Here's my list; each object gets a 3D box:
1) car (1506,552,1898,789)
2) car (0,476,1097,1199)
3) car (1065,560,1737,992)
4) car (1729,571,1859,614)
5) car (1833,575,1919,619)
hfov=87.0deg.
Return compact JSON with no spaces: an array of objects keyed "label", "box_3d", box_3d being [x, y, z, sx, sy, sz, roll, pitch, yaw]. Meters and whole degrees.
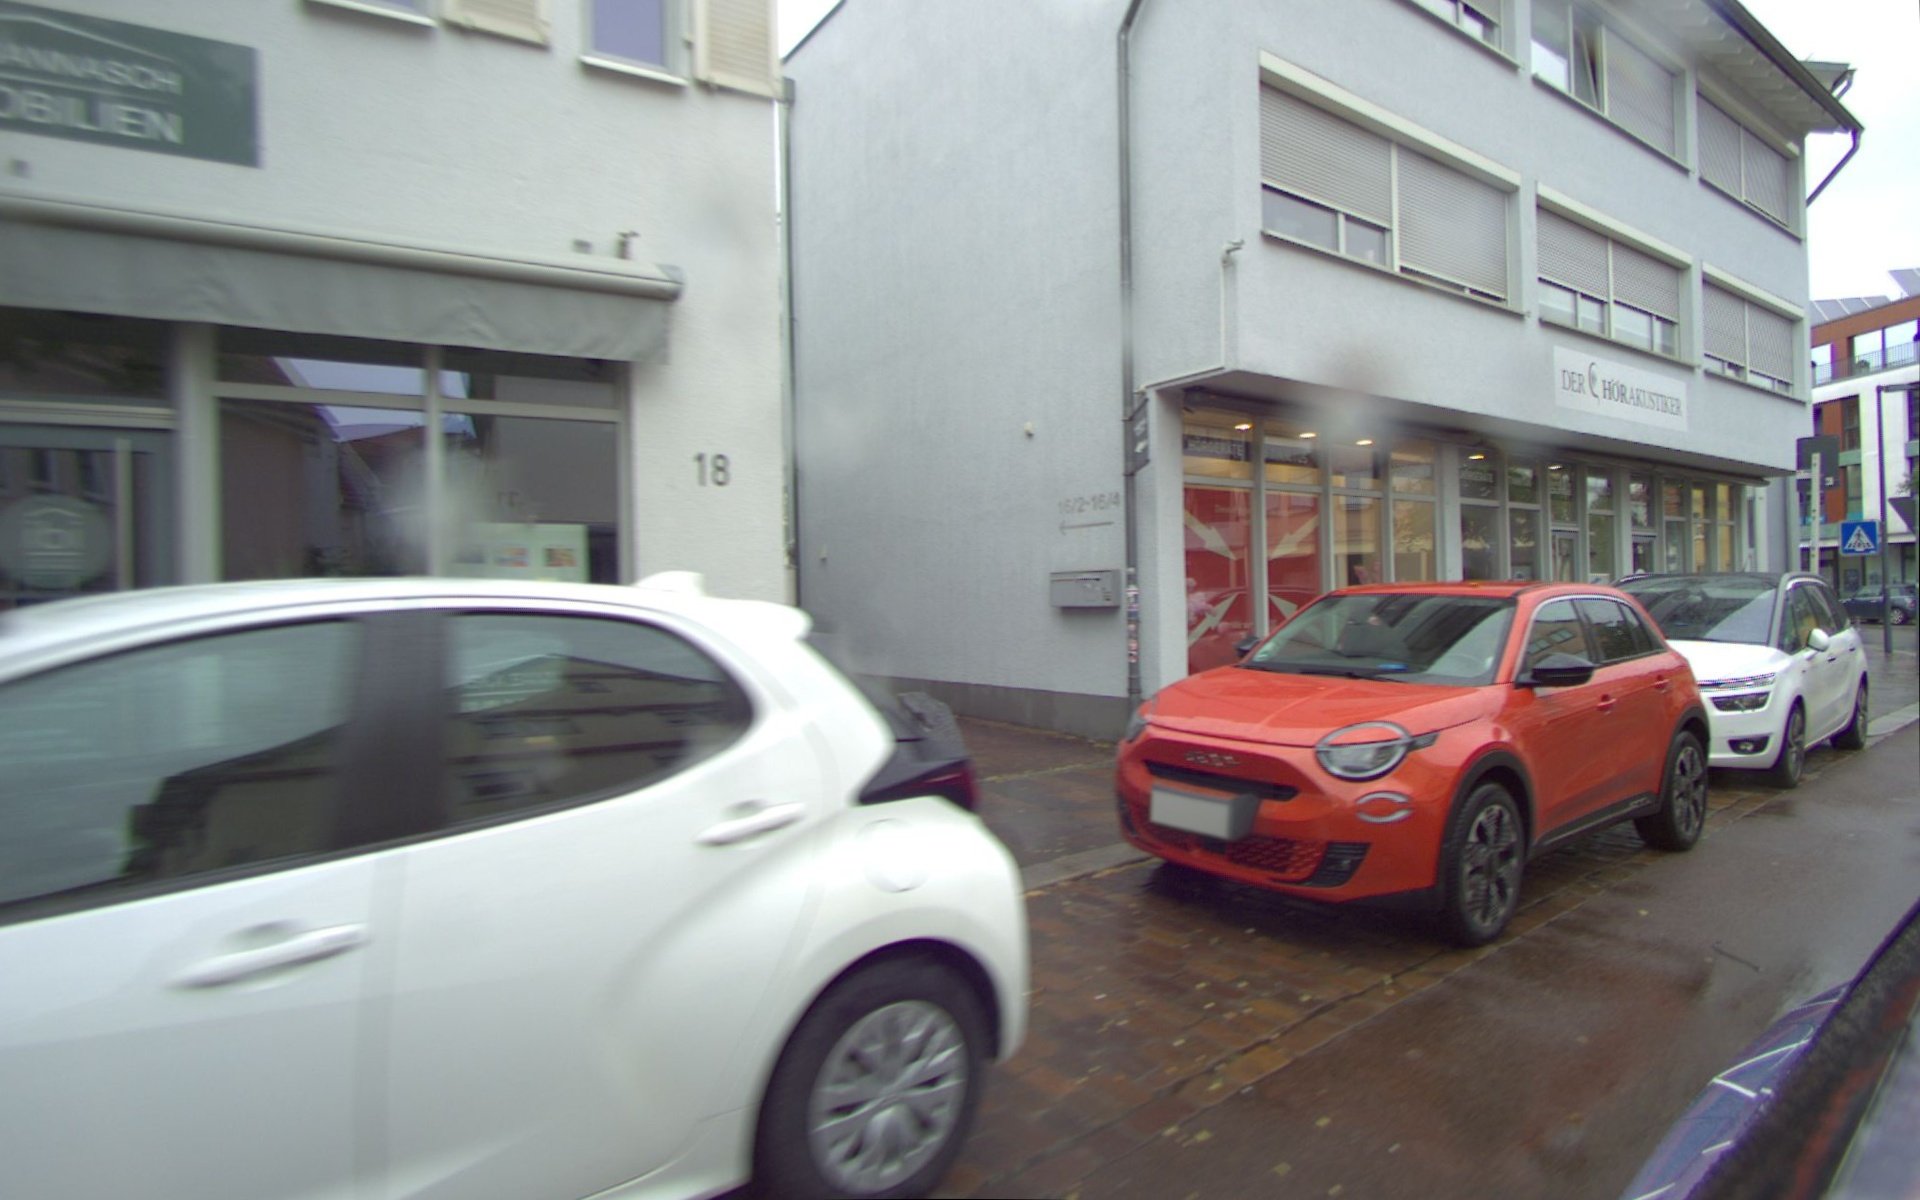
[{"label":"car","box_3d":[6.737,0.464,9.005,4.361,1.619,1.791,-1,0,-40]},{"label":"car","box_3d":[-1.698,0.612,2.203,3.878,1.575,1.792,-1,1,-39]},{"label":"car","box_3d":[2.601,0.593,5.555,3.880,1.487,1.791,-3,1,-40]},{"label":"car","box_3d":[33.549,-0.305,40.868,1.768,1.574,3.925,-2,1,-4]},{"label":"car","box_3d":[33.509,-0.145,36.023,1.647,1.453,3.587,-2,1,-2]}]
